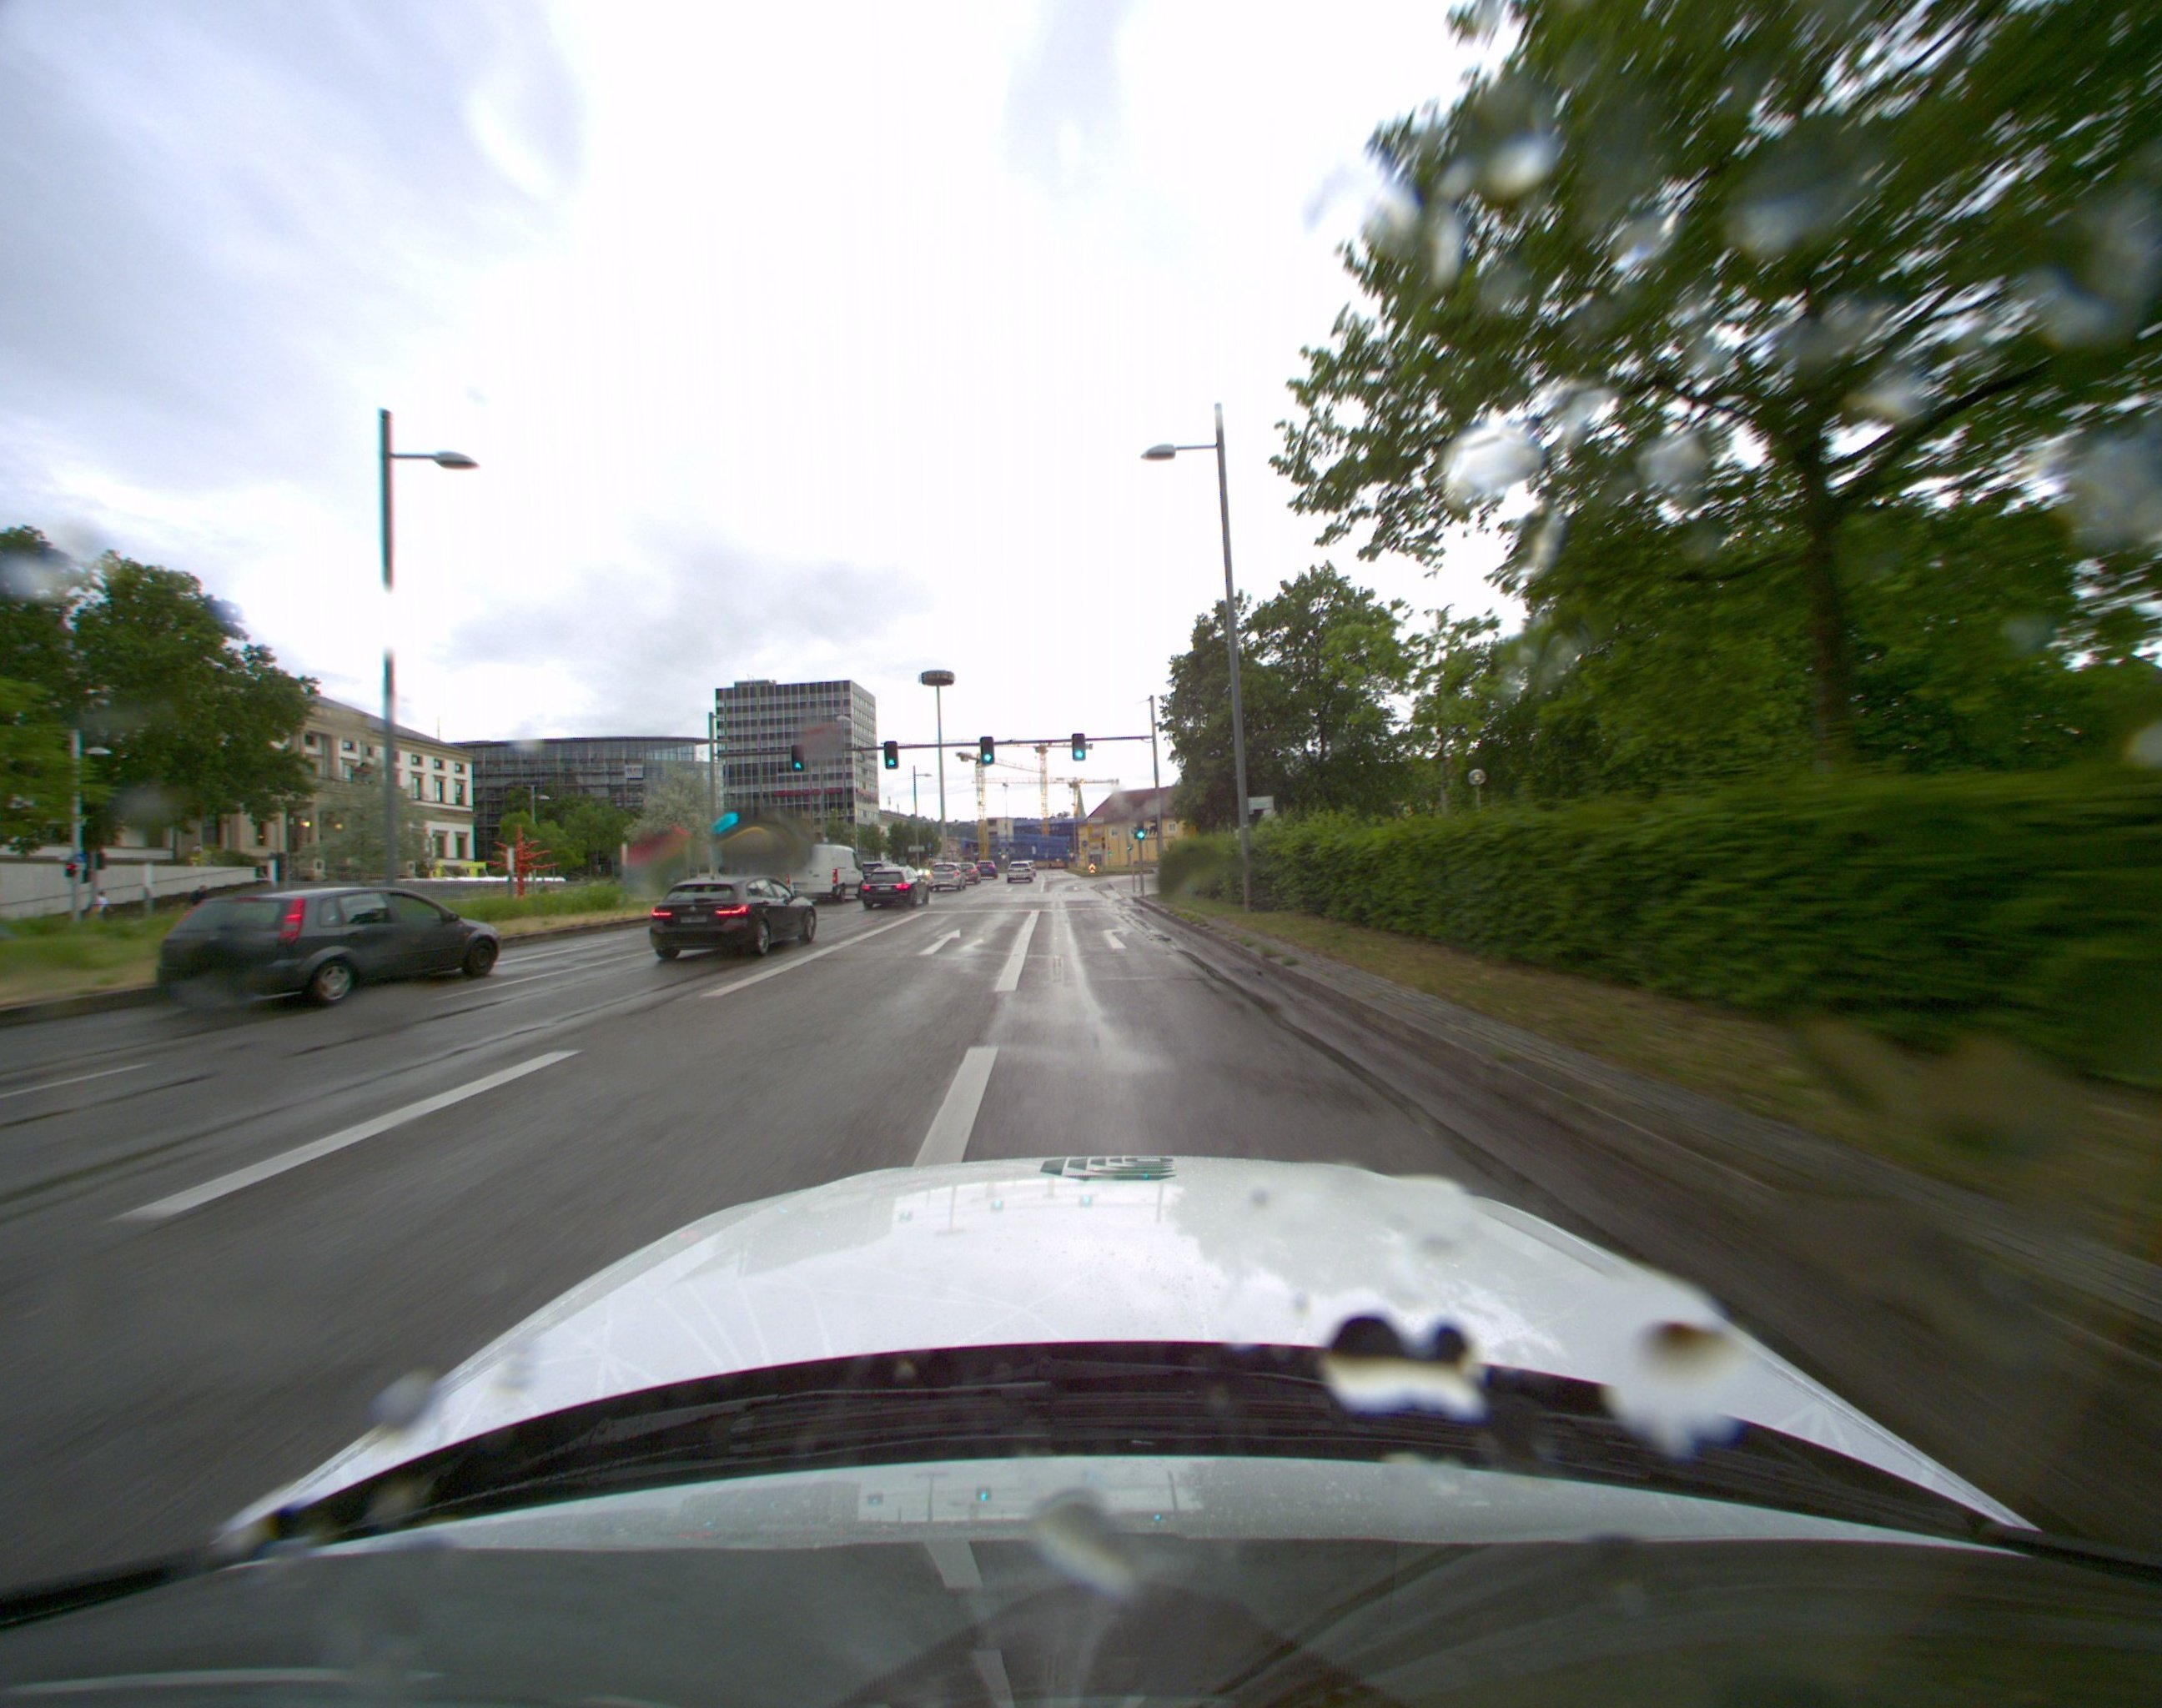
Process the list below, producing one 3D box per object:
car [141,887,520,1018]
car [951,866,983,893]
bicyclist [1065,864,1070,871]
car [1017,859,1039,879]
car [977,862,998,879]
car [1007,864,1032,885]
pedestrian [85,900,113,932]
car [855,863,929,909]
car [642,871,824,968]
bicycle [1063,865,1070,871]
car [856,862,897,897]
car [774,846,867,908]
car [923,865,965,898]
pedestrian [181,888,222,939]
[{"bbox_3d":[-9.804,1.189,11.139,1.537,1.415,3.900,-1,-2,0],"label":"car"},{"bbox_3d":[-7.646,1.727,54.795,1.711,1.728,3.492,-1,-2,-1],"label":"car"},{"bbox_3d":[-2.500,2.438,150.100,0.705,1.275,0.631,-1,-3,-17],"label":"bicyclist"},{"bbox_3d":[-4.894,1.392,75.800,1.660,1.741,3.289,-1,1,2],"label":"car"},{"bbox_3d":[-7.870,1.442,68.950,1.489,1.369,3.030,-1,-2,-2],"label":"car"},{"bbox_3d":[-4.203,1.404,55.767,1.439,1.359,2.412,-1,-2,2],"label":"car"},{"bbox_3d":[-45.894,2.888,38.071,0.490,1.423,0.633,-1,-2,0],"label":"pedestrian"},{"bbox_3d":[-6.737,1.154,29.333,1.823,1.495,3.398,-1,-2,1],"label":"car"},{"bbox_3d":[-6.365,1.116,15.461,1.749,1.471,4.218,-1,0,-3],"label":"car"},{"bbox_3d":[-2.667,2.602,150.418,0.882,1.010,1.981,-1,-2,-17],"label":"bicycle"},{"bbox_3d":[-10.623,1.325,42.456,1.461,1.706,3.137,-1,-2,-3],"label":"car"},{"bbox_3d":[-10.619,0.989,33.632,2.286,2.314,5.003,-1,-2,-1],"label":"car"},{"bbox_3d":[-7.325,1.506,43.855,1.877,1.653,3.452,-1,-2,-4],"label":"car"},{"bbox_3d":[-37.417,2.528,34.644,0.764,2.091,0.727,-1,3,3],"label":"pedestrian"}]
